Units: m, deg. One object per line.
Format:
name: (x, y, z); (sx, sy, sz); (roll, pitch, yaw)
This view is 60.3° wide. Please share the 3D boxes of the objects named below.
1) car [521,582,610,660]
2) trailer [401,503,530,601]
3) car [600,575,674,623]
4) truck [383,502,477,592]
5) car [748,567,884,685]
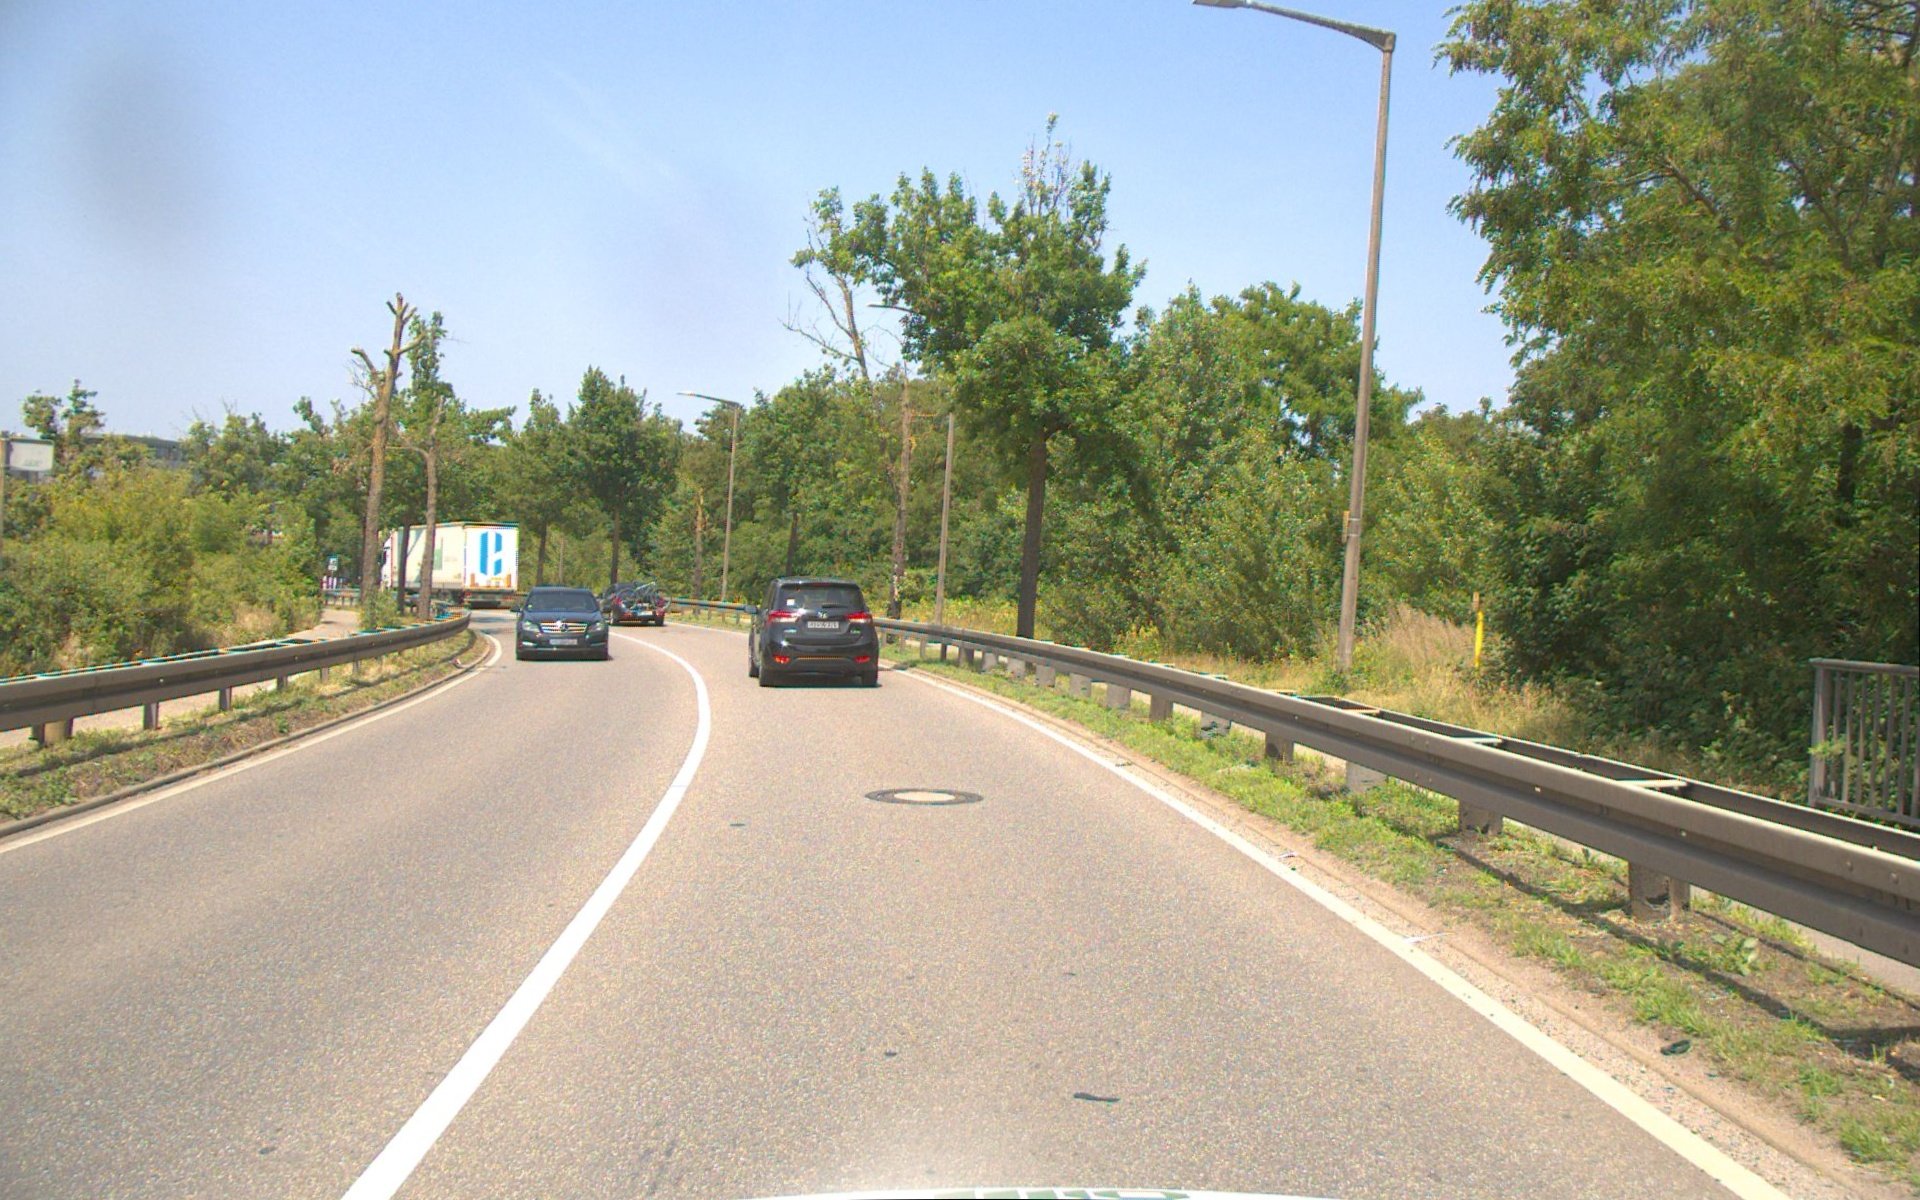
car: (-8.002, 0.373, 33.523); (1.648, 1.468, 4.115); (0, 1, -14)
trailer: (-24.415, -2.409, 81.135); (3.532, 4.460, 11.327); (0, 2, -30)
car: (-10.802, -0.055, 55.088); (1.980, 1.454, 3.758); (1, 2, -18)
truck: (-28.185, -2.818, 87.755); (3.534, 4.517, 6.453); (0, 2, -29)
car: (-2.290, 0.333, 25.481); (1.885, 1.601, 3.885); (1, 2, -8)
